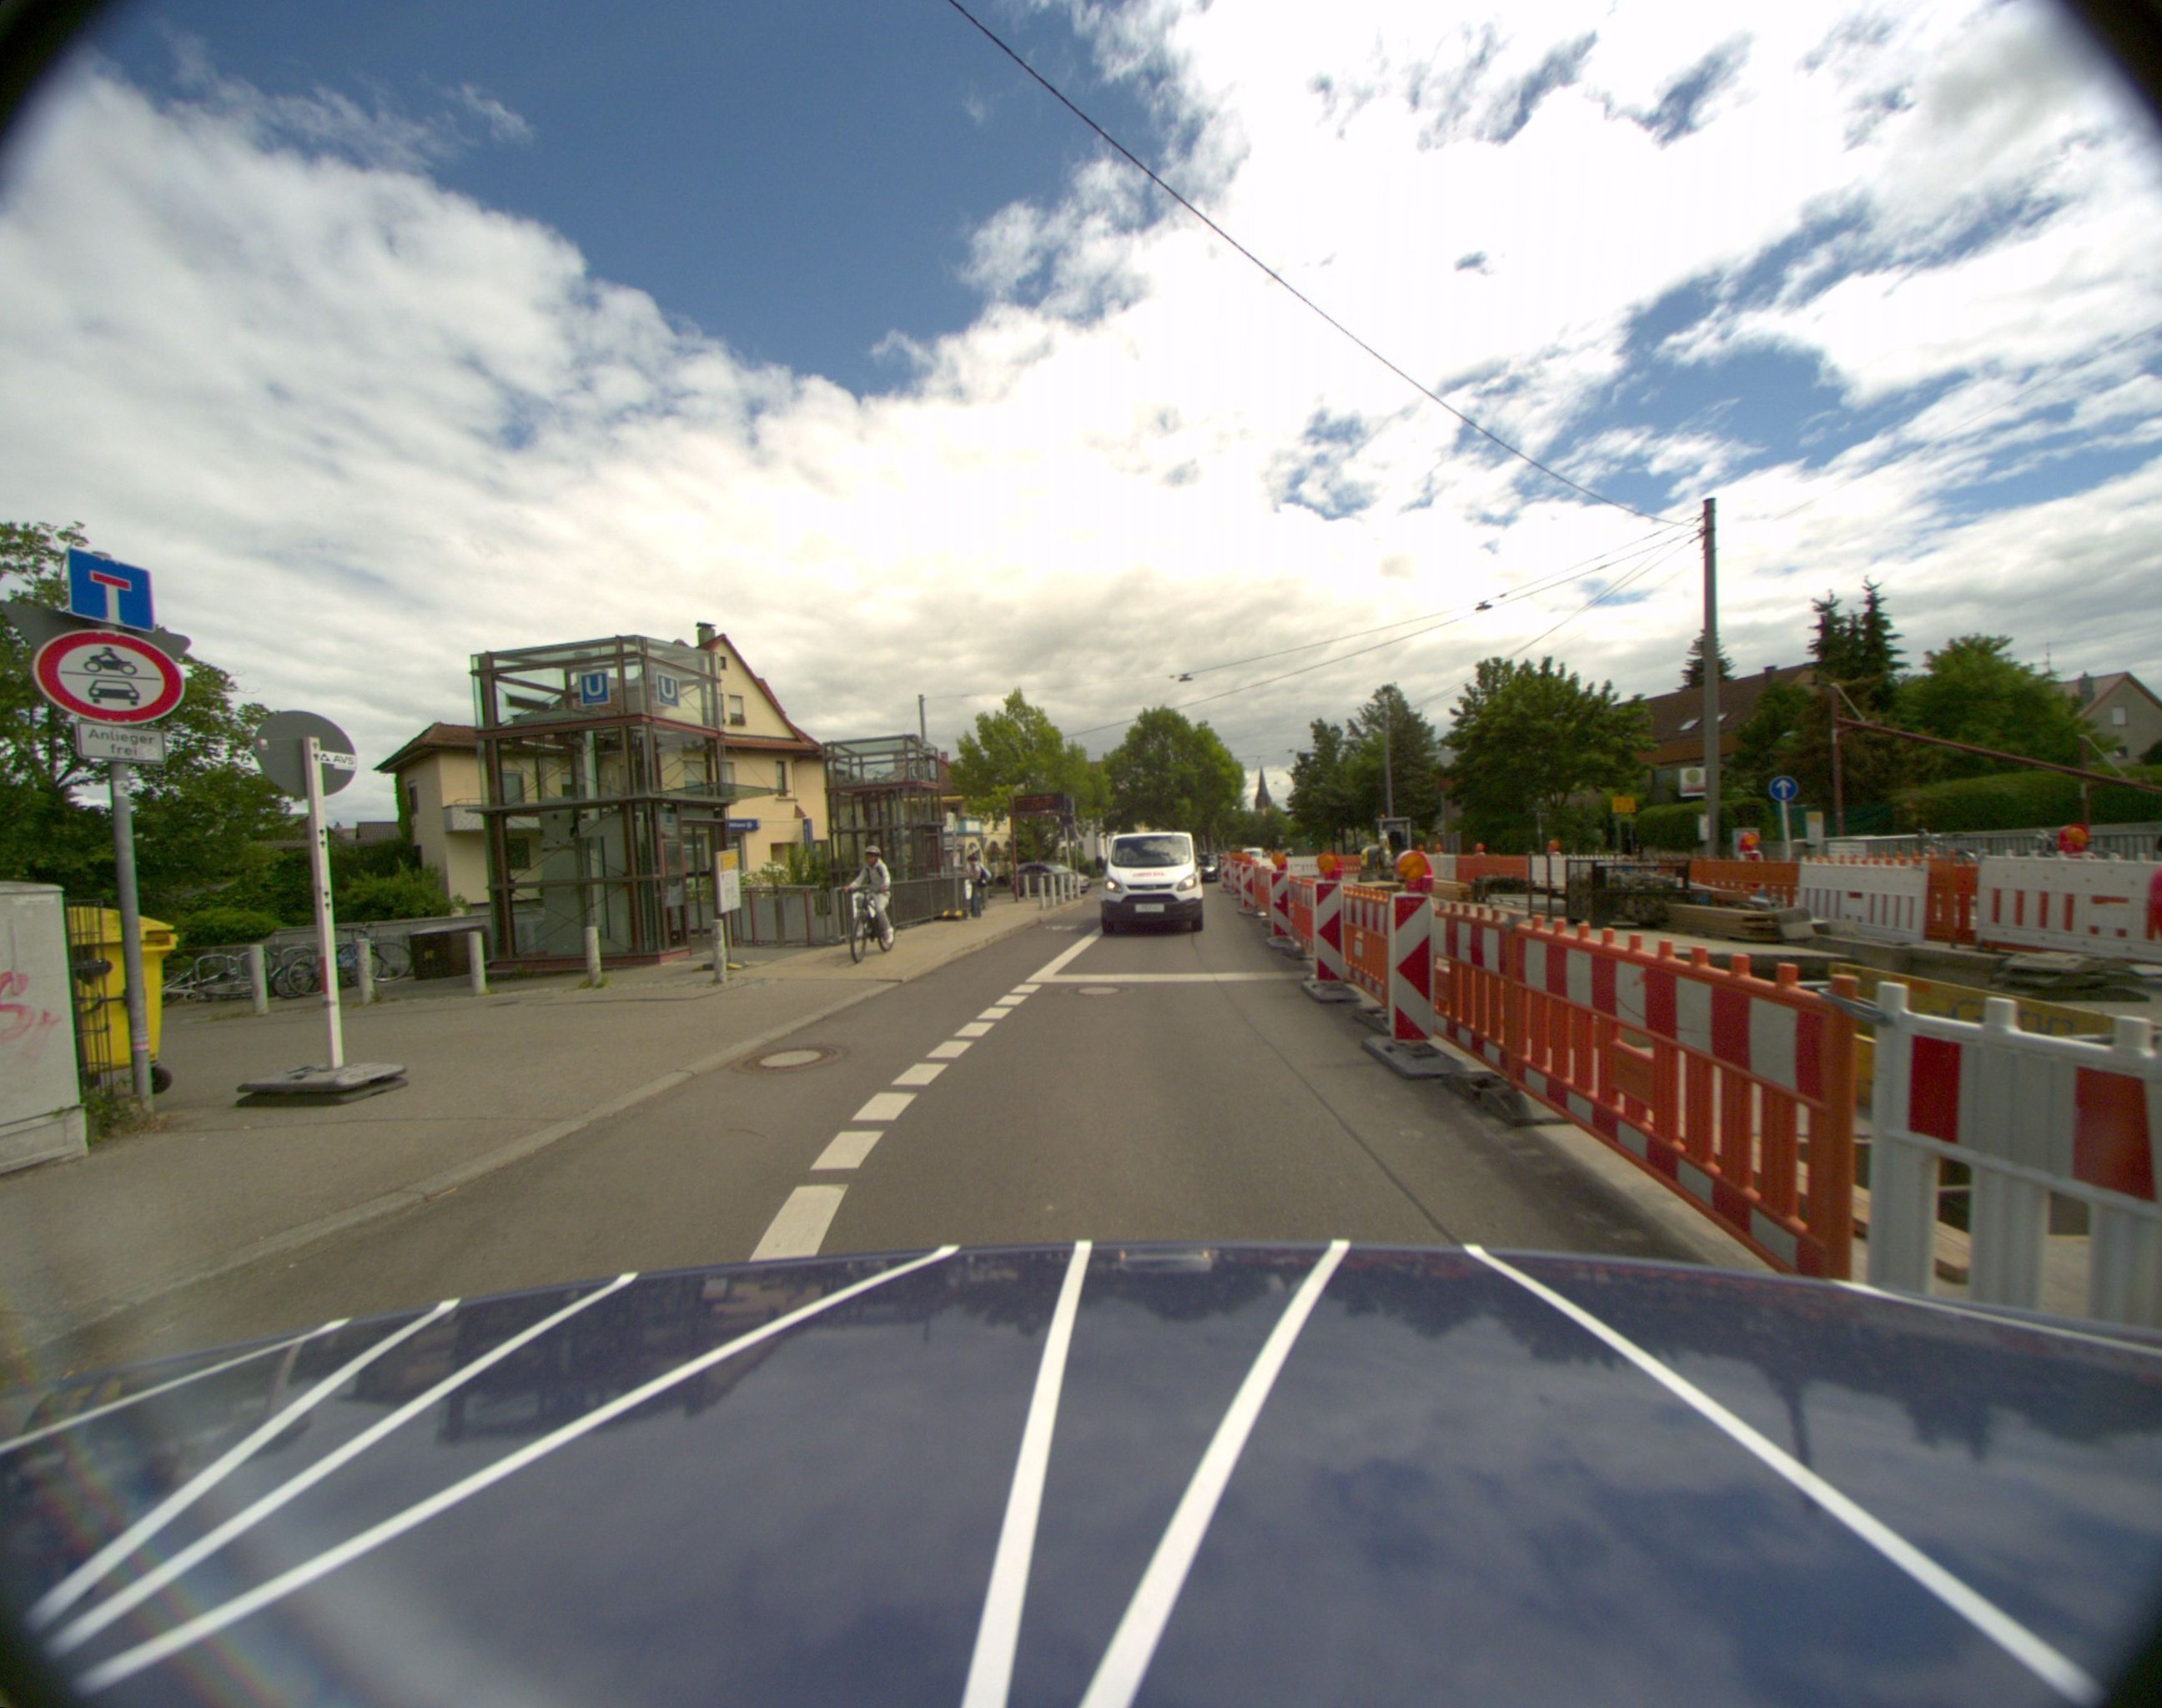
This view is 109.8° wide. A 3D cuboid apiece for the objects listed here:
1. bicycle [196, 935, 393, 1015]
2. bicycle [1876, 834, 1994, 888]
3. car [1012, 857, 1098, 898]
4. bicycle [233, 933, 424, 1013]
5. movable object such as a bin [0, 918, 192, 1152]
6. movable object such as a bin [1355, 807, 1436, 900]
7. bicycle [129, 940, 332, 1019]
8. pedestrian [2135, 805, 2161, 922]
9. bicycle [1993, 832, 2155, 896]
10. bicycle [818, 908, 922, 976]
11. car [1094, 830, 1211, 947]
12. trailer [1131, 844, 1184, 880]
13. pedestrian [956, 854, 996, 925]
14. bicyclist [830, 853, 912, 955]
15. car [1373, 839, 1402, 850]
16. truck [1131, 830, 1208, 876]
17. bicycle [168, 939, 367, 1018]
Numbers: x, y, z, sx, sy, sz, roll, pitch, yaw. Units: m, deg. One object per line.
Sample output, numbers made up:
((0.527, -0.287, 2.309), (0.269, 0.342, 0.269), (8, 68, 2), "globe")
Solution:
((-13.845, 2.092, 13.522), (0.568, 0.974, 2.472), (-4, 0, 10), "bicycle")
((18.654, 0.134, 16.674), (0.539, 1.076, 2.133), (-2, 0, 12), "bicycle")
((-1.236, 1.096, 34.964), (1.873, 1.615, 3.991), (-4, -1, -38), "car")
((-13.161, 2.041, 13.440), (0.568, 0.974, 2.472), (-4, 0, 10), "bicycle")
((-7.682, 1.274, 5.566), (1.270, 1.461, 1.005), (-4, 0, 16), "movable object such as a bin")
((10.198, -0.047, 25.043), (1.996, 2.610, 6.530), (-2, 0, 19), "movable object such as a bin")
((-15.287, 2.223, 13.795), (0.568, 0.974, 2.472), (-4, 0, 10), "bicycle")
((17.746, 0.143, 12.222), (0.680, 1.875, 0.585), (-2, 1, 9), "pedestrian")
((18.189, 0.163, 14.012), (0.539, 1.076, 2.133), (-2, 0, 12), "bicycle")
((-3.065, 1.269, 11.280), (0.637, 0.749, 2.063), (-3, 0, 9), "bicycle")
((1.587, 0.590, 16.652), (1.998, 2.002, 5.515), (-4, 1, 6), "car")
((5.721, 0.542, 56.003), (2.596, 2.232, 5.680), (-6, -1, 17), "trailer")
((-2.479, 0.830, 17.912), (0.599, 1.574, 0.401), (-9, 2, 9), "pedestrian")
((-3.091, 0.713, 11.288), (0.657, 1.407, 1.179), (-3, 0, 9), "bicyclist")
((50.415, -1.549, 124.939), (4.000, 1.499, 1.998), (-4, 0, -11), "car")
((7.302, 0.005, 63.573), (2.346, 3.178, 6.620), (-3, -3, -34), "truck")
((-14.492, 2.188, 13.683), (0.568, 0.974, 2.472), (-4, 0, 10), "bicycle")
